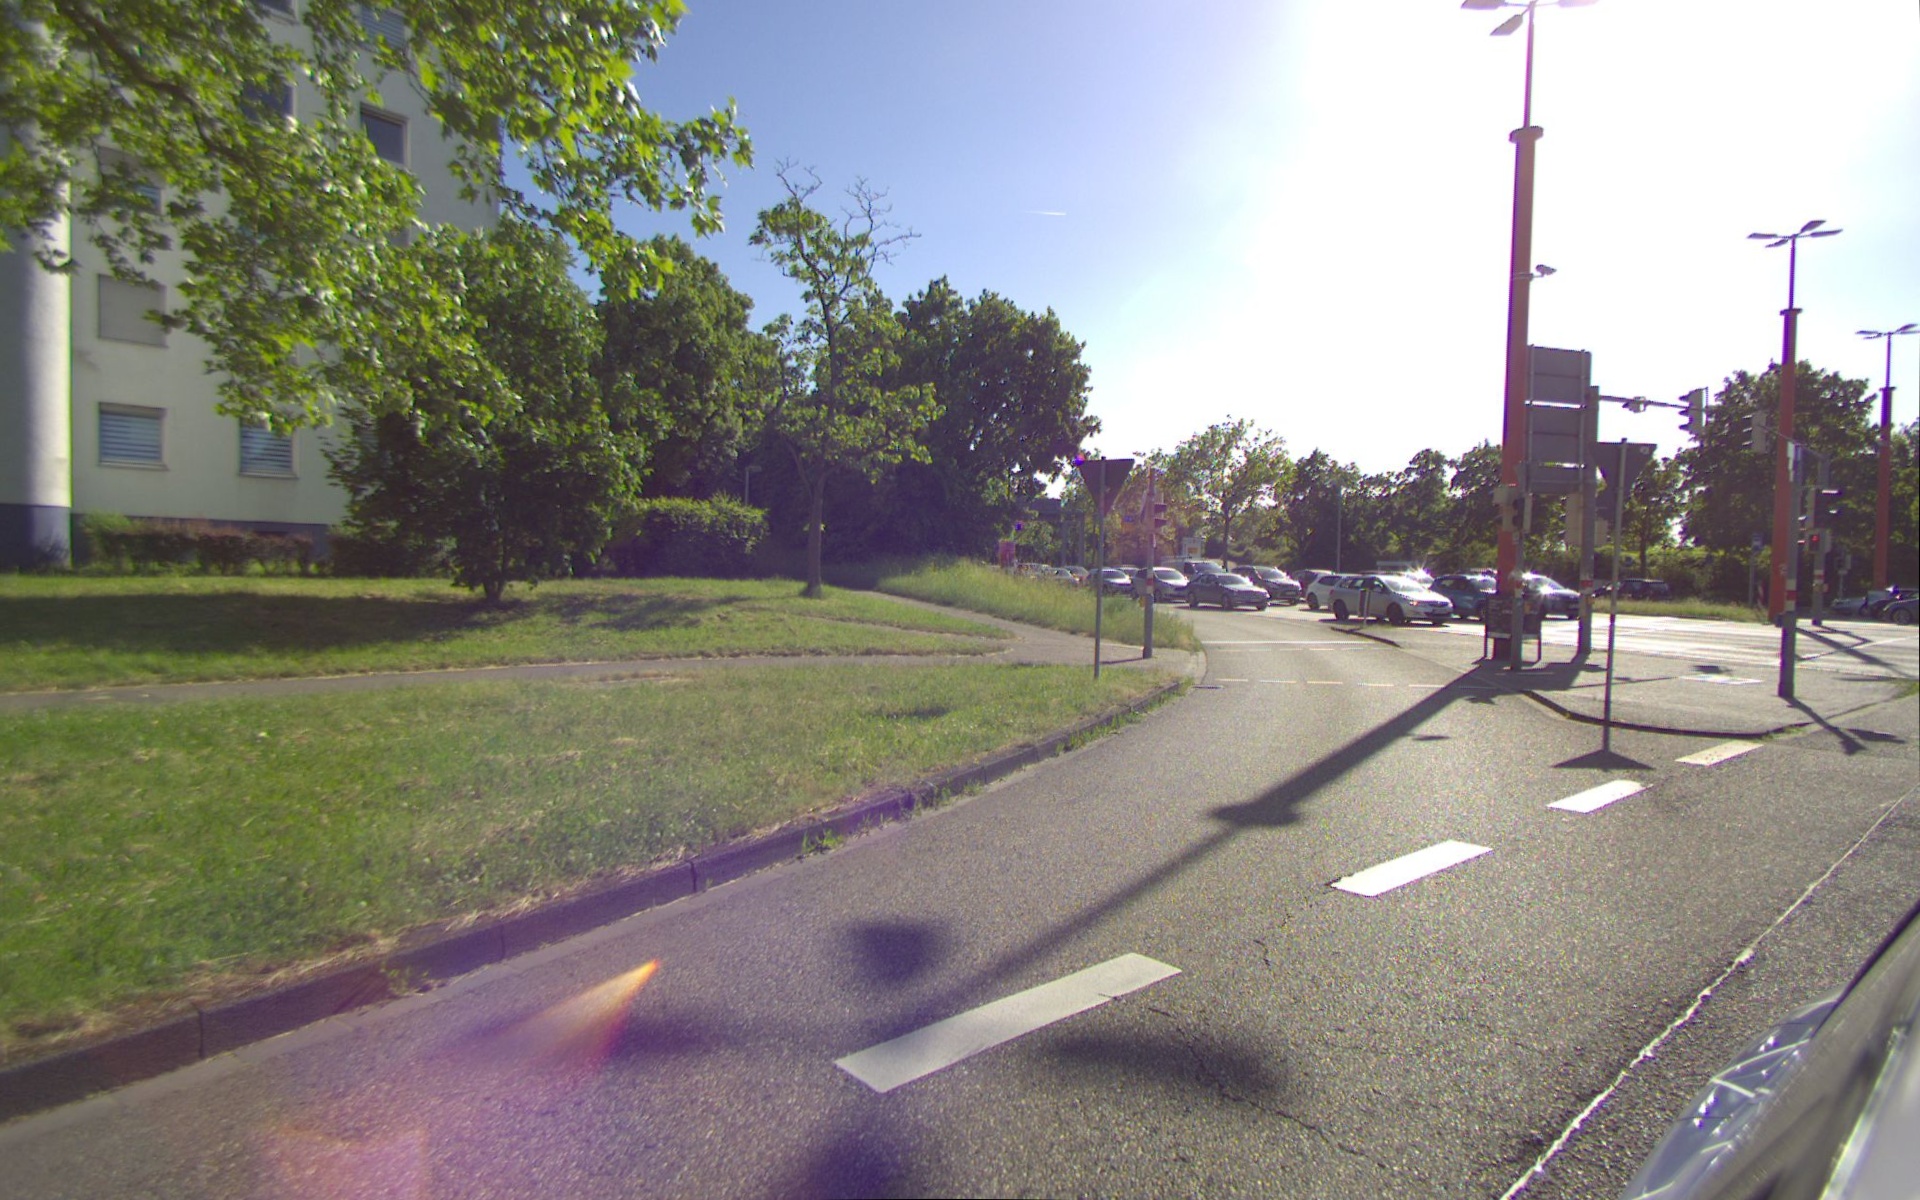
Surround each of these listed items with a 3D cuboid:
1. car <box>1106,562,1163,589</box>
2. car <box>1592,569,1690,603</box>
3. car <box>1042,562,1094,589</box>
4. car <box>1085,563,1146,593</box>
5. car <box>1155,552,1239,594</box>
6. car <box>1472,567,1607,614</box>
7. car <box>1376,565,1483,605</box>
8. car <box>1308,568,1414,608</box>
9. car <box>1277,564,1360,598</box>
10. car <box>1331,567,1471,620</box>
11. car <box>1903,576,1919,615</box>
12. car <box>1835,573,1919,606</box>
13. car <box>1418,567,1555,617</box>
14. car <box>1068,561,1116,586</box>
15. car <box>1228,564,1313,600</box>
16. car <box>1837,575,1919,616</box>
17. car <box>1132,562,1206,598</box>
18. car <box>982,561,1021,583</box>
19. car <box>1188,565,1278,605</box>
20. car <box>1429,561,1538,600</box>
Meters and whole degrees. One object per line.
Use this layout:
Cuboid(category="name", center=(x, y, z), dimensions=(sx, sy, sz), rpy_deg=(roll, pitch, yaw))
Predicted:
Cuboid(category="car", center=(10.236, -1.458, 59.670), dimensions=(1.762, 1.529, 4.010), rpy_deg=(-1, 2, -15))
Cuboid(category="car", center=(31.713, -0.679, 47.231), dimensions=(1.579, 1.447, 3.547), rpy_deg=(1, 2, -18))
Cuboid(category="car", center=(6.450, -1.515, 60.907), dimensions=(1.762, 1.529, 4.010), rpy_deg=(-1, 2, -15))
Cuboid(category="car", center=(8.235, -1.212, 53.865), dimensions=(1.762, 1.529, 4.010), rpy_deg=(-1, 2, -15))
Cuboid(category="car", center=(12.256, -1.449, 52.754), dimensions=(2.048, 2.112, 5.206), rpy_deg=(-1, 2, -15))
Cuboid(category="car", center=(20.172, -0.388, 35.414), dimensions=(1.762, 1.500, 4.010), rpy_deg=(-1, 2, -15))
Cuboid(category="car", center=(19.032, -0.655, 41.204), dimensions=(1.762, 1.529, 4.010), rpy_deg=(-1, 2, -15))
Cuboid(category="car", center=(15.426, -0.511, 39.138), dimensions=(1.762, 1.408, 4.010), rpy_deg=(-1, 2, -15))
Cuboid(category="car", center=(16.896, -0.938, 47.903), dimensions=(1.762, 1.500, 4.010), rpy_deg=(-1, 2, -15))
Cuboid(category="car", center=(13.890, -0.258, 32.169), dimensions=(1.762, 1.500, 4.296), rpy_deg=(-1, 2, -15))
Cuboid(category="car", center=(35.531, -0.063, 34.891), dimensions=(1.762, 1.385, 4.010), rpy_deg=(1, 2, -16))
Cuboid(category="car", center=(45.942, -0.505, 49.290), dimensions=(4.576, 1.529, 1.791), rpy_deg=(2, 2, 18))
Cuboid(category="car", center=(17.276, -0.308, 33.440), dimensions=(1.762, 1.500, 4.010), rpy_deg=(-1, 2, -15))
Cuboid(category="car", center=(8.554, -1.738, 65.961), dimensions=(1.762, 1.529, 4.010), rpy_deg=(-1, 2, -15))
Cuboid(category="car", center=(13.909, -0.841, 45.571), dimensions=(1.762, 1.524, 4.010), rpy_deg=(-1, 2, -15))
Cuboid(category="car", center=(37.645, -0.157, 40.436), dimensions=(1.579, 1.525, 3.547), rpy_deg=(1, 2, -19))
Cuboid(category="car", center=(9.776, -0.964, 47.643), dimensions=(1.762, 1.604, 4.010), rpy_deg=(-1, 2, -15))
Cuboid(category="car", center=(3.036, -2.088, 74.385), dimensions=(1.762, 1.529, 4.010), rpy_deg=(-1, 2, -15))
Cuboid(category="car", center=(11.027, -0.649, 41.173), dimensions=(1.762, 1.529, 4.010), rpy_deg=(-1, 2, -15))
Cuboid(category="car", center=(21.576, -0.845, 41.867), dimensions=(1.762, 1.529, 4.010), rpy_deg=(-1, 2, -15))
